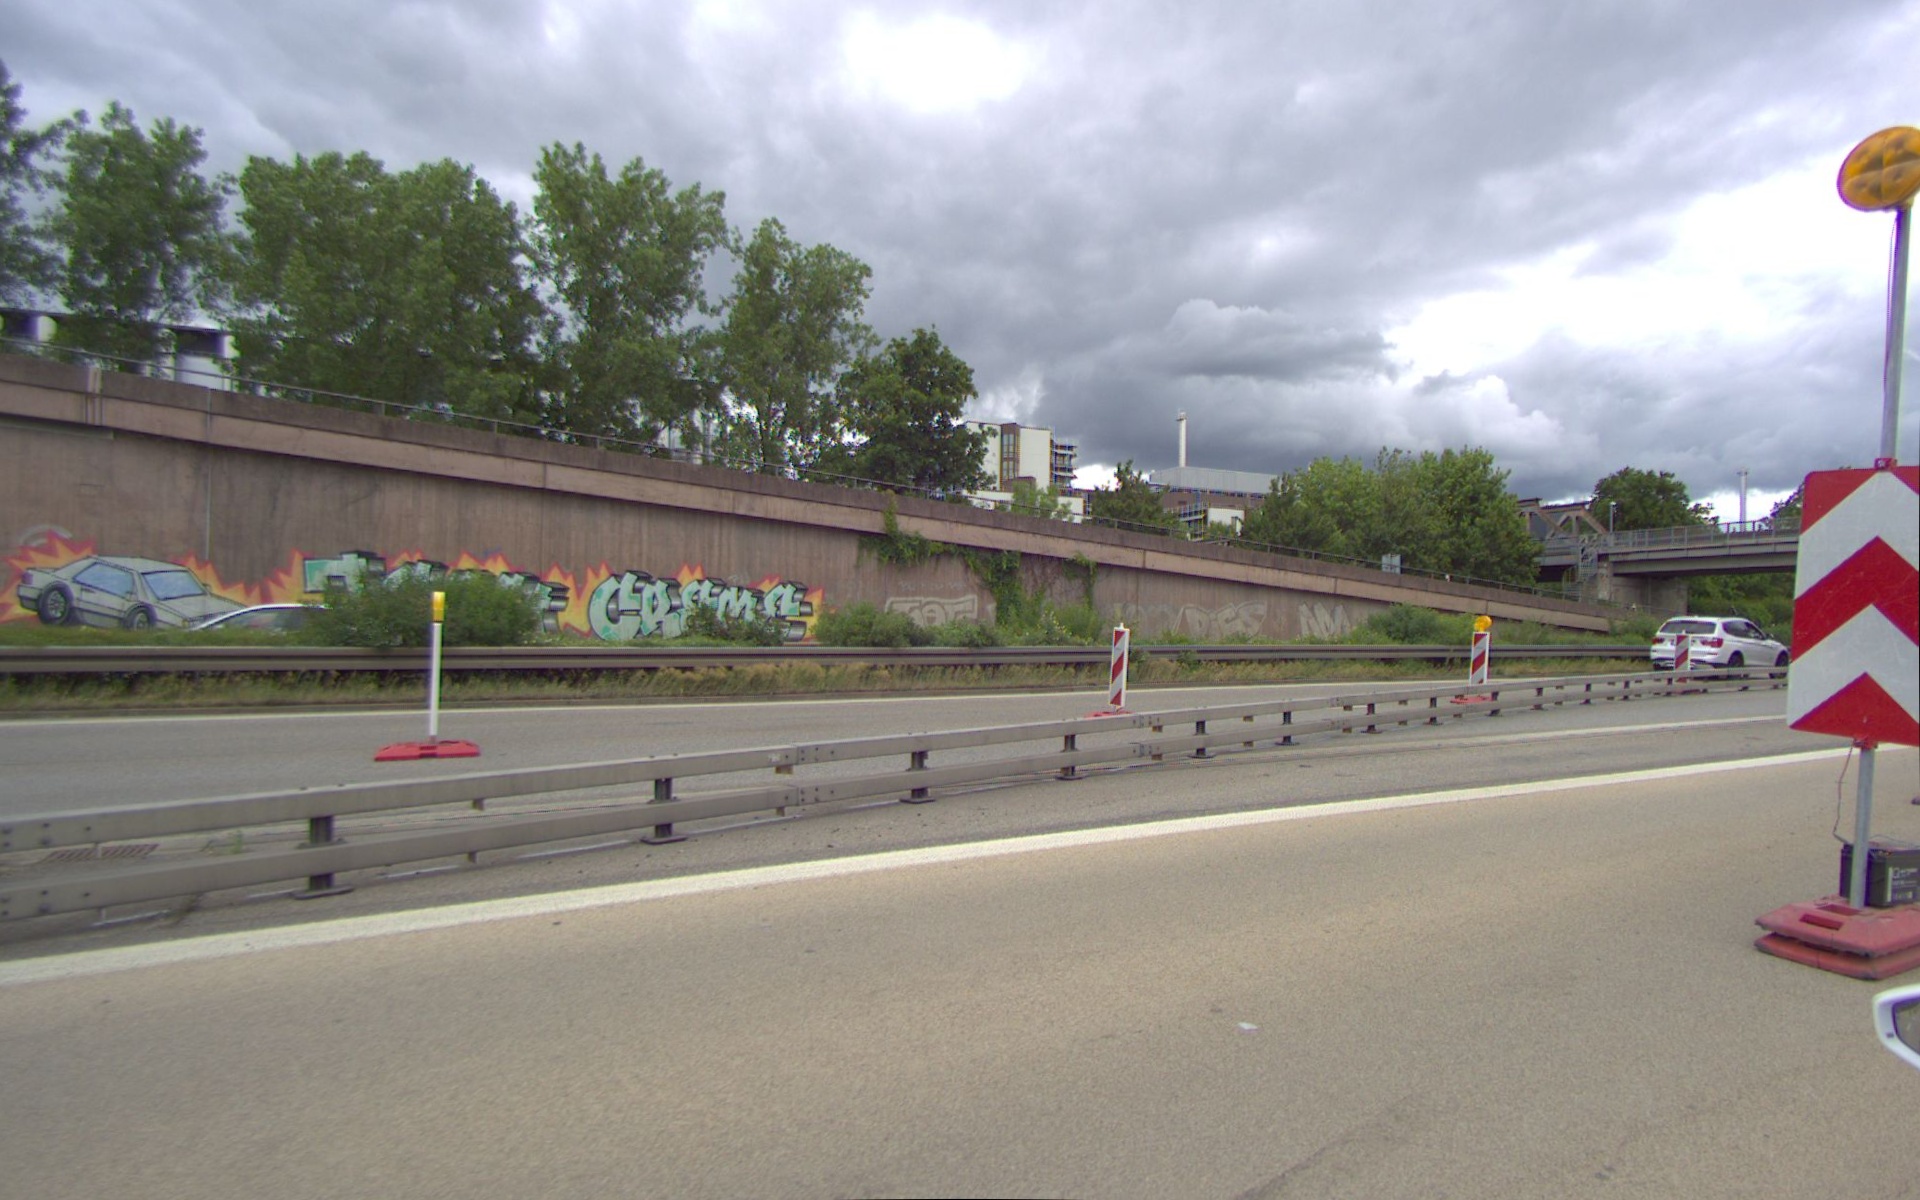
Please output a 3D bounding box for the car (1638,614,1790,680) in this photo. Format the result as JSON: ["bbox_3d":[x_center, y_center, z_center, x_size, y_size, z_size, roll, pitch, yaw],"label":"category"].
[{"bbox_3d":[20.671,1.277,27.509,4.241,1.662,1.845,2,-1,-30],"label":"car"}]

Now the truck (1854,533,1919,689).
[{"bbox_3d":[26.999,0.372,26.189,10.044,3.677,2.936,2,-1,-33],"label":"truck"}]

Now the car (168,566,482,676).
[{"bbox_3d":[-10.520,0.378,17.001,4.241,1.662,1.845,2,-1,-30],"label":"car"}]
